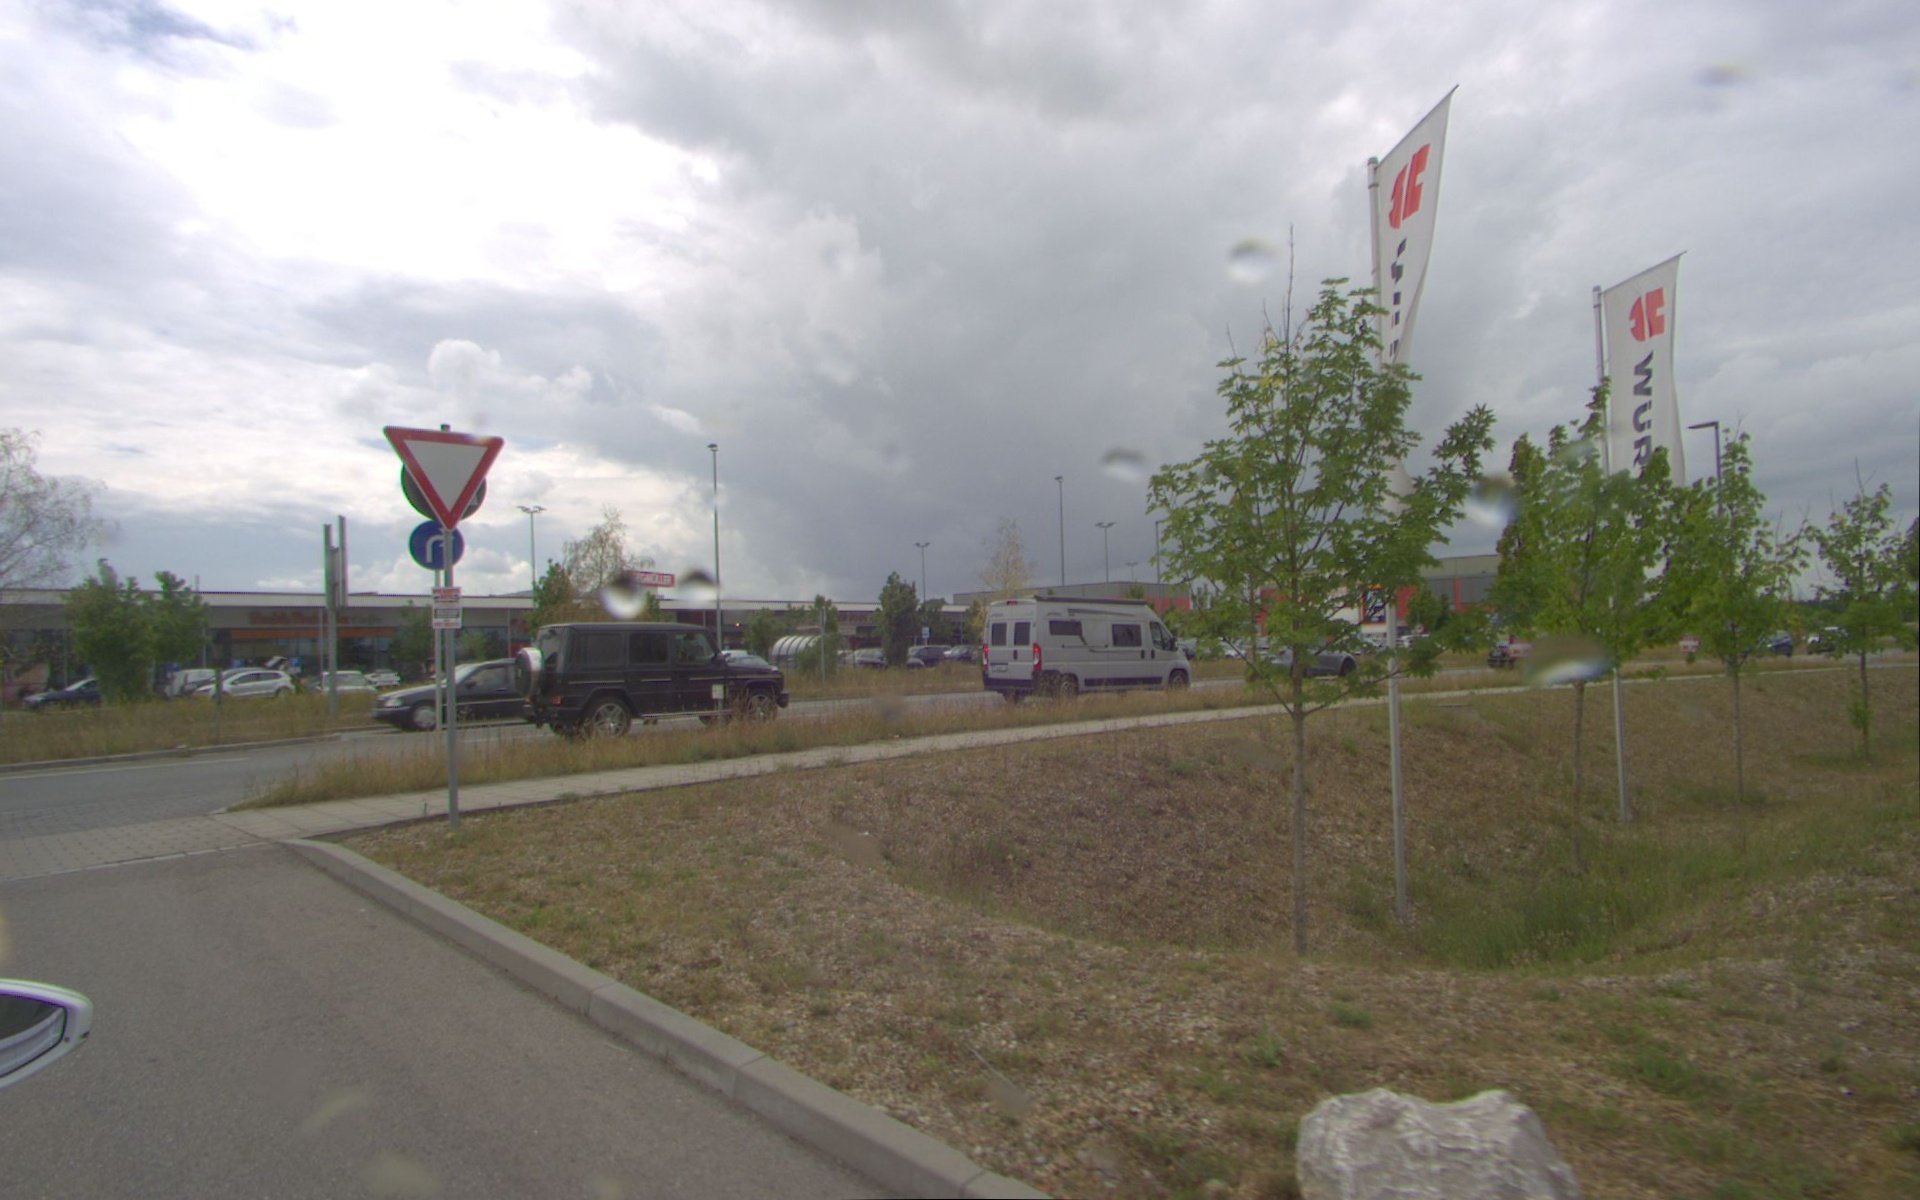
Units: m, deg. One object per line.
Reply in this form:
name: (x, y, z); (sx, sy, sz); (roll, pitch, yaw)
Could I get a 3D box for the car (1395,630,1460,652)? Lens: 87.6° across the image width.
car: (35.147, 3.092, 75.356); (1.976, 1.459, 3.975); (0, -4, -36)

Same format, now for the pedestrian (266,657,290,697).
pedestrian: (-35.617, 4.004, 52.313); (0.859, 2.039, 0.994); (0, -3, -44)

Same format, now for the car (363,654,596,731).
car: (-10.594, 2.012, 22.261); (4.328, 1.412, 1.776); (0, -4, -44)

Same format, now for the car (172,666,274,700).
car: (-35.856, 4.021, 48.771); (1.649, 1.472, 3.730); (-4, -3, 40)

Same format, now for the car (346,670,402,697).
car: (-36.874, 5.242, 63.000); (3.959, 1.527, 1.983); (-4, -3, 43)

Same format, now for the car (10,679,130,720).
car: (-37.221, 4.136, 41.935); (1.649, 1.472, 3.592); (-4, -3, 39)

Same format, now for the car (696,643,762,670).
car: (-16.759, 4.114, 72.830); (1.976, 1.841, 4.398); (-4, -4, 38)

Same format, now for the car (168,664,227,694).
car: (-42.809, 4.430, 56.192); (3.959, 1.527, 1.983); (-4, -3, 43)

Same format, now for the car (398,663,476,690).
car: (-33.413, 4.872, 64.048); (1.979, 1.527, 3.967); (-4, -3, 42)

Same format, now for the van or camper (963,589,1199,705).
van or camper: (3.147, 1.174, 25.073); (6.095, 2.572, 2.180); (1, -4, -39)

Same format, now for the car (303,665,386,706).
car: (-22.881, 3.168, 37.150); (1.974, 1.401, 4.116); (1, -4, -41)

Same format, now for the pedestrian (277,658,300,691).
pedestrian: (-34.182, 3.789, 50.993); (0.816, 1.652, 0.891); (1, -4, -44)

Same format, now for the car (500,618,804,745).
car: (-5.362, 1.367, 17.827); (4.797, 1.947, 1.983); (2, -4, -42)

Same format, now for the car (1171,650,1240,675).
car: (15.197, 3.873, 62.076); (1.891, 1.408, 3.789); (-1, -3, -37)

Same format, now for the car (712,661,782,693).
car: (-10.302, 3.727, 48.237); (1.788, 1.401, 4.124); (0, -4, -36)

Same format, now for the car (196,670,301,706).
car: (-33.276, 4.090, 46.883); (1.649, 1.472, 3.730); (-4, -3, 40)

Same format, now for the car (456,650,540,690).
car: (-18.613, 2.824, 40.244); (1.974, 1.468, 4.116); (1, -4, -41)

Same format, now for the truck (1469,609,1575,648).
truck: (47.835, 2.424, 85.308); (8.031, 2.982, 2.679); (-1, -2, -12)

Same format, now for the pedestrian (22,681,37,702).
pedestrian: (-52.954, 5.197, 56.985); (0.555, 1.138, 0.574); (-3, -2, 37)

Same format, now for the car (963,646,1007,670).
car: (1.984, 4.549, 78.766); (1.738, 1.674, 3.817); (-3, -2, 32)

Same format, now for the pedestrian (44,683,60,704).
pedestrian: (-51.705, 5.317, 57.039); (0.555, 1.138, 0.574); (-3, -2, 37)

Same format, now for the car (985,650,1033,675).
car: (3.793, 4.823, 77.429); (1.972, 1.755, 3.979); (-3, -2, 32)

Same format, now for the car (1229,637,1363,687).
car: (11.755, 2.126, 34.962); (4.818, 1.527, 1.801); (0, -3, -33)
